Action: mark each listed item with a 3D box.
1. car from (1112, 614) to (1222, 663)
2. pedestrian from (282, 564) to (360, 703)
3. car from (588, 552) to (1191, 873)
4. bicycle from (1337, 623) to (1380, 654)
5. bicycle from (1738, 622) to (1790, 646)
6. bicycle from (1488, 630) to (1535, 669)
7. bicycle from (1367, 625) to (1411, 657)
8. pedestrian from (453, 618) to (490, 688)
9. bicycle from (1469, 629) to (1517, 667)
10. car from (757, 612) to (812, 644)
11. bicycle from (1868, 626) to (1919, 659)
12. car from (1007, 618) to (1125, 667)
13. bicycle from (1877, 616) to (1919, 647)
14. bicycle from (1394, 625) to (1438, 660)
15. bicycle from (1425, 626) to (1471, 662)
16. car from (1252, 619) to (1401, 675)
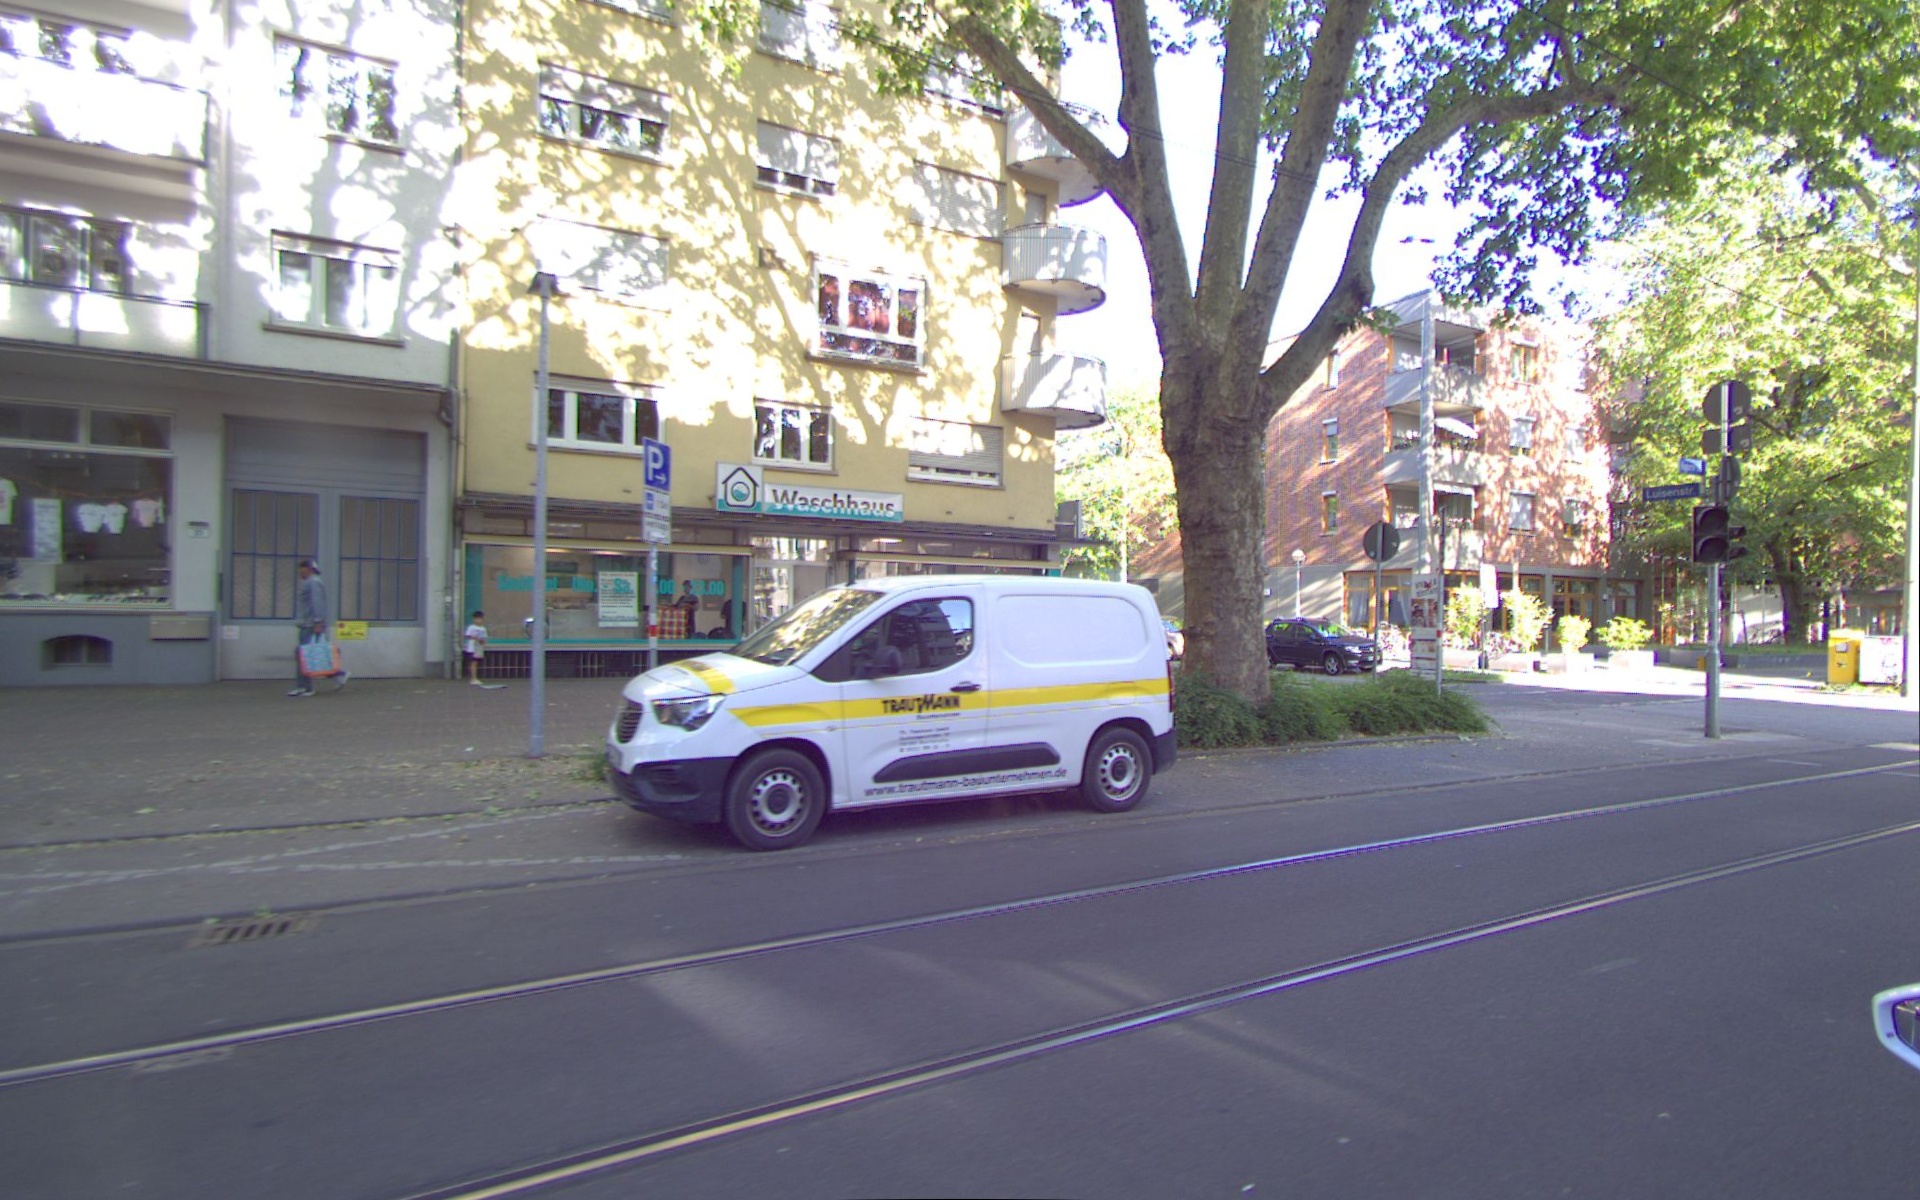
[{"bbox_3d":[7.648,1.411,37.502,1.937,1.684,3.971,2,-1,-28],"label":"car"},{"bbox_3d":[-8.993,0.465,14.170,0.854,1.894,0.741,1,0,-30],"label":"pedestrian"},{"bbox_3d":[-0.449,0.704,7.698,4.267,1.875,1.755,2,0,-30],"label":"car"},{"bbox_3d":[14.389,1.383,36.277,1.619,1.098,0.539,2,0,-30],"label":"bicycle"},{"bbox_3d":[39.543,1.660,49.400,0.760,1.087,1.921,2,0,-43],"label":"bicycle"},{"bbox_3d":[16.897,1.518,30.753,1.518,1.099,0.539,-2,1,-30],"label":"bicycle"},{"bbox_3d":[14.911,1.416,34.934,1.619,1.098,0.539,0,0,-30],"label":"bicycle"},{"bbox_3d":[-8.019,0.862,16.488,0.434,1.120,0.416,1,0,-43],"label":"pedestrian"},{"bbox_3d":[16.608,1.478,31.307,1.619,1.099,0.539,-1,1,-30],"label":"bicycle"},{"bbox_3d":[-10.242,1.600,58.478,1.975,1.706,3.970,2,0,-28],"label":"car"},{"bbox_3d":[38.118,1.712,40.278,0.673,1.235,2.449,1,1,-26],"label":"bicycle"},{"bbox_3d":[3.416,1.361,33.016,1.975,1.394,3.970,2,0,-28],"label":"car"},{"bbox_3d":[38.489,1.282,40.339,0.673,1.182,2.332,1,0,-26],"label":"bicycle"},{"bbox_3d":[15.465,1.421,34.053,1.619,1.099,0.539,-1,1,-30],"label":"bicycle"},{"bbox_3d":[15.971,1.416,32.878,1.619,1.099,0.539,-1,1,-30],"label":"bicycle"},{"bbox_3d":[11.105,1.389,30.686,1.975,1.528,3.970,2,0,-28],"label":"car"}]
